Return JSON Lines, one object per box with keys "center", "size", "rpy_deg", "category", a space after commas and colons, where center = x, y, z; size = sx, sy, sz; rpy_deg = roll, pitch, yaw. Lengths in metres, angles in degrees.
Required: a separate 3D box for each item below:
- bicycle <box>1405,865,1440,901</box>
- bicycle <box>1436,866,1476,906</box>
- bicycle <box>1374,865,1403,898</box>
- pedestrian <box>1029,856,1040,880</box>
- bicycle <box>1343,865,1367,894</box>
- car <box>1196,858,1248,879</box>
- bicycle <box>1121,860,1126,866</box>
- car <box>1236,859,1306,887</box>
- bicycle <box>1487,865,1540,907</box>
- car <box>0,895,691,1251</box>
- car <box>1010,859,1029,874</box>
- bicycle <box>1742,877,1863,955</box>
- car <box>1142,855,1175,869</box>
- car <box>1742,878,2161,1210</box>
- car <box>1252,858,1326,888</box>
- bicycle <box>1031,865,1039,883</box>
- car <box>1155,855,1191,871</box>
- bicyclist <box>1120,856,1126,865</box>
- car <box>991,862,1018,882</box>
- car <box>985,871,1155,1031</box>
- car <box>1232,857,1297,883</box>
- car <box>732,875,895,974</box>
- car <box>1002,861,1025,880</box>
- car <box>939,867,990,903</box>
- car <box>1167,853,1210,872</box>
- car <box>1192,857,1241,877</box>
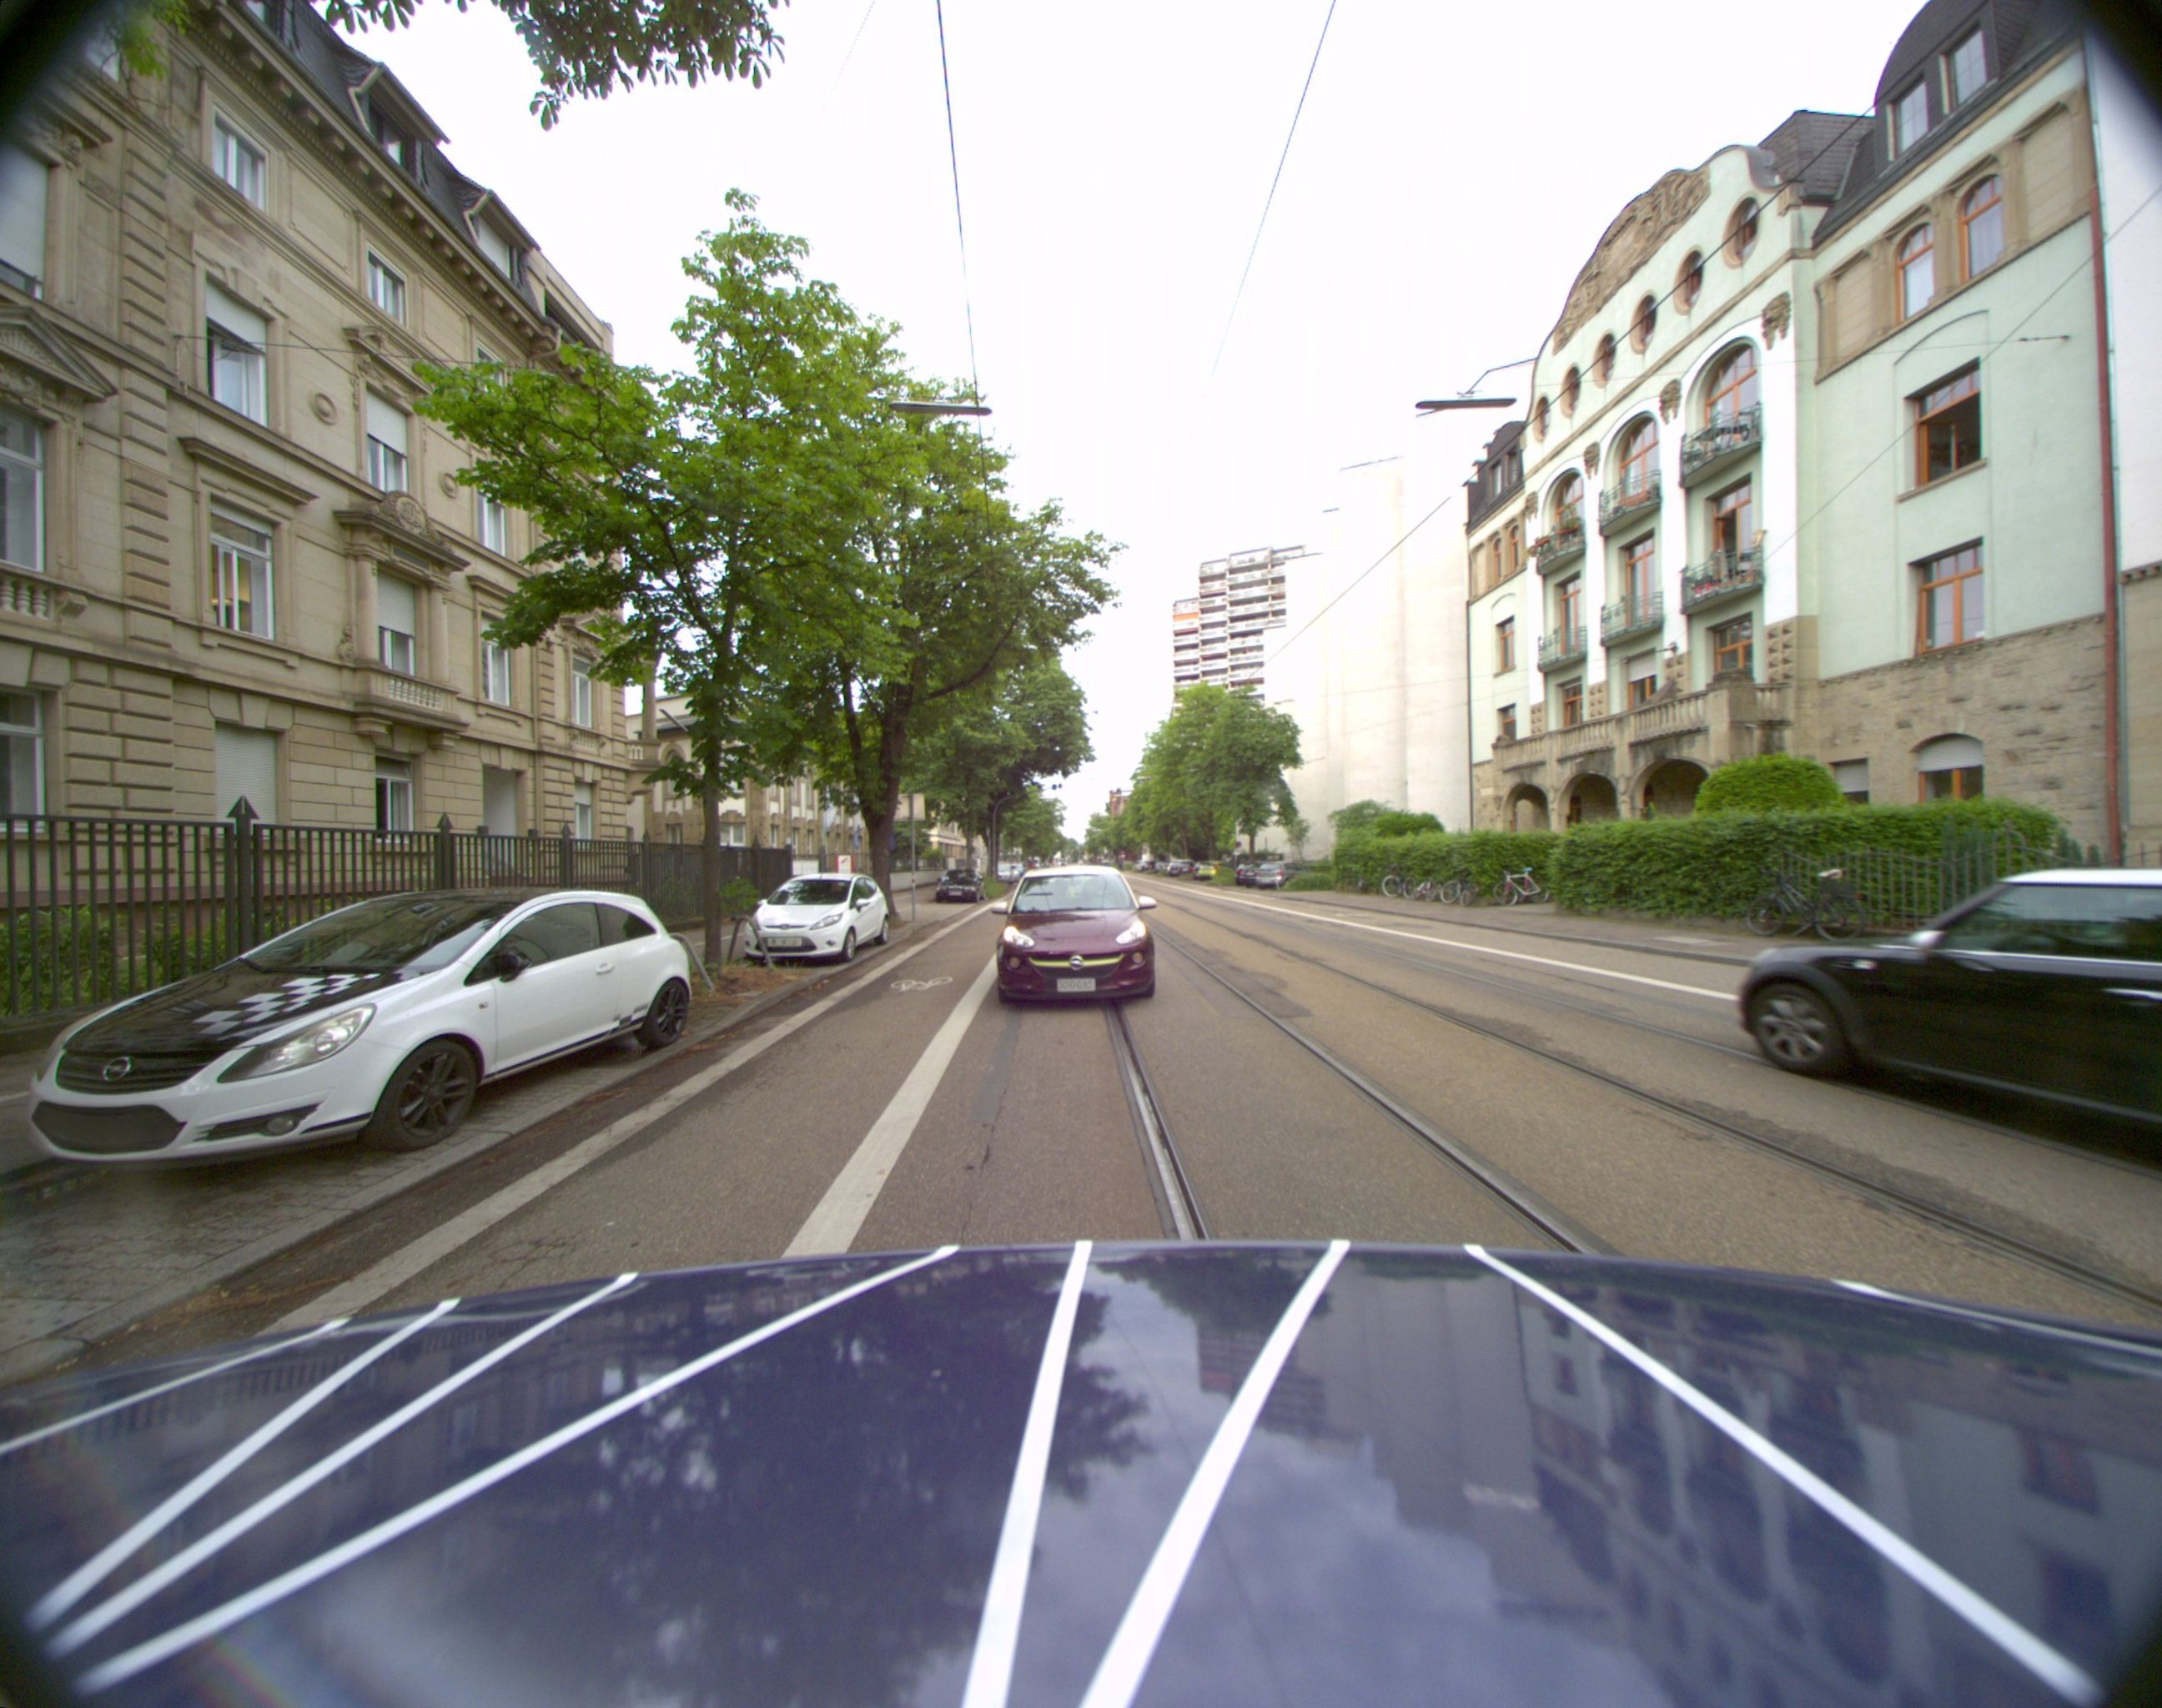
{"center": [10.725, 0.886, 23.885], "size": [0.360, 1.077, 1.546], "rpy_deg": [-1, 0, -1], "category": "bicycle"}
{"center": [10.798, 0.905, 21.919], "size": [0.360, 1.077, 1.546], "rpy_deg": [-1, 0, -1], "category": "bicycle"}
{"center": [10.717, 0.949, 26.520], "size": [0.360, 1.077, 1.546], "rpy_deg": [-1, 0, -1], "category": "bicycle"}
{"center": [-3.125, 0.941, 51.449], "size": [0.684, 1.541, 0.704], "rpy_deg": [-1, 0, -1], "category": "pedestrian"}
{"center": [10.626, 0.967, 29.494], "size": [0.360, 1.077, 1.546], "rpy_deg": [-1, 0, -1], "category": "bicycle"}
{"center": [10.253, 1.028, 55.212], "size": [4.008, 1.386, 1.690], "rpy_deg": [-1, 0, -44], "category": "car"}
{"center": [6.278, 1.303, 113.017], "size": [0.568, 0.784, 1.890], "rpy_deg": [-1, 0, -2], "category": "bicycle"}
{"center": [10.494, 1.010, 41.875], "size": [4.008, 1.395, 1.691], "rpy_deg": [-1, 0, -41], "category": "car"}
{"center": [11.724, 0.864, 20.608], "size": [1.205, 1.077, 0.300], "rpy_deg": [-3, 0, 1], "category": "bicycle"}
{"center": [-4.539, 1.106, 5.373], "size": [1.606, 1.427, 3.776], "rpy_deg": [1, 0, 0], "category": "car"}
{"center": [-5.966, 1.235, 74.434], "size": [1.606, 1.362, 3.836], "rpy_deg": [1, 0, -1], "category": "car"}
{"center": [11.009, 0.909, 11.658], "size": [0.360, 1.077, 1.546], "rpy_deg": [-1, 0, -1], "category": "bicycle"}
{"center": [9.307, 1.004, 91.219], "size": [4.008, 1.611, 1.690], "rpy_deg": [-1, 0, -44], "category": "car"}
{"center": [5.579, 0.874, 3.673], "size": [1.613, 1.414, 3.485], "rpy_deg": [0, 0, -4], "category": "car"}
{"center": [10.737, 0.951, 39.046], "size": [4.008, 1.395, 1.691], "rpy_deg": [-1, 0, -41], "category": "car"}
{"center": [-3.122, 1.356, 51.598], "size": [0.414, 1.197, 1.706], "rpy_deg": [-1, 0, 0], "category": "bicycle"}
{"center": [9.900, 0.987, 81.397], "size": [4.008, 1.611, 1.690], "rpy_deg": [-1, 0, -44], "category": "car"}
{"center": [6.281, 0.950, 113.081], "size": [0.752, 1.247, 0.875], "rpy_deg": [-1, 0, -2], "category": "bicyclist"}
{"center": [-5.466, 1.288, 54.670], "size": [1.606, 1.362, 3.836], "rpy_deg": [1, 0, -1], "category": "car"}
{"center": [-0.104, 0.995, 9.338], "size": [1.606, 1.427, 3.776], "rpy_deg": [-3, 0, 0], "category": "car"}
{"center": [10.919, 0.927, 45.050], "size": [4.008, 1.395, 1.691], "rpy_deg": [-1, 0, -41], "category": "car"}
{"center": [-4.608, 1.151, 13.673], "size": [1.631, 1.427, 3.764], "rpy_deg": [1, 0, -1], "category": "car"}
{"center": [-5.485, 1.316, 62.013], "size": [1.606, 1.416, 3.836], "rpy_deg": [1, 0, -1], "category": "car"}
{"center": [-4.896, 1.262, 32.225], "size": [1.606, 1.362, 3.836], "rpy_deg": [1, 0, -1], "category": "car"}
{"center": [9.674, 0.787, 67.975], "size": [4.008, 1.611, 1.690], "rpy_deg": [-1, 0, -44], "category": "car"}
{"center": [10.417, 0.984, 58.265], "size": [4.008, 1.434, 1.690], "rpy_deg": [-1, 0, -44], "category": "car"}
